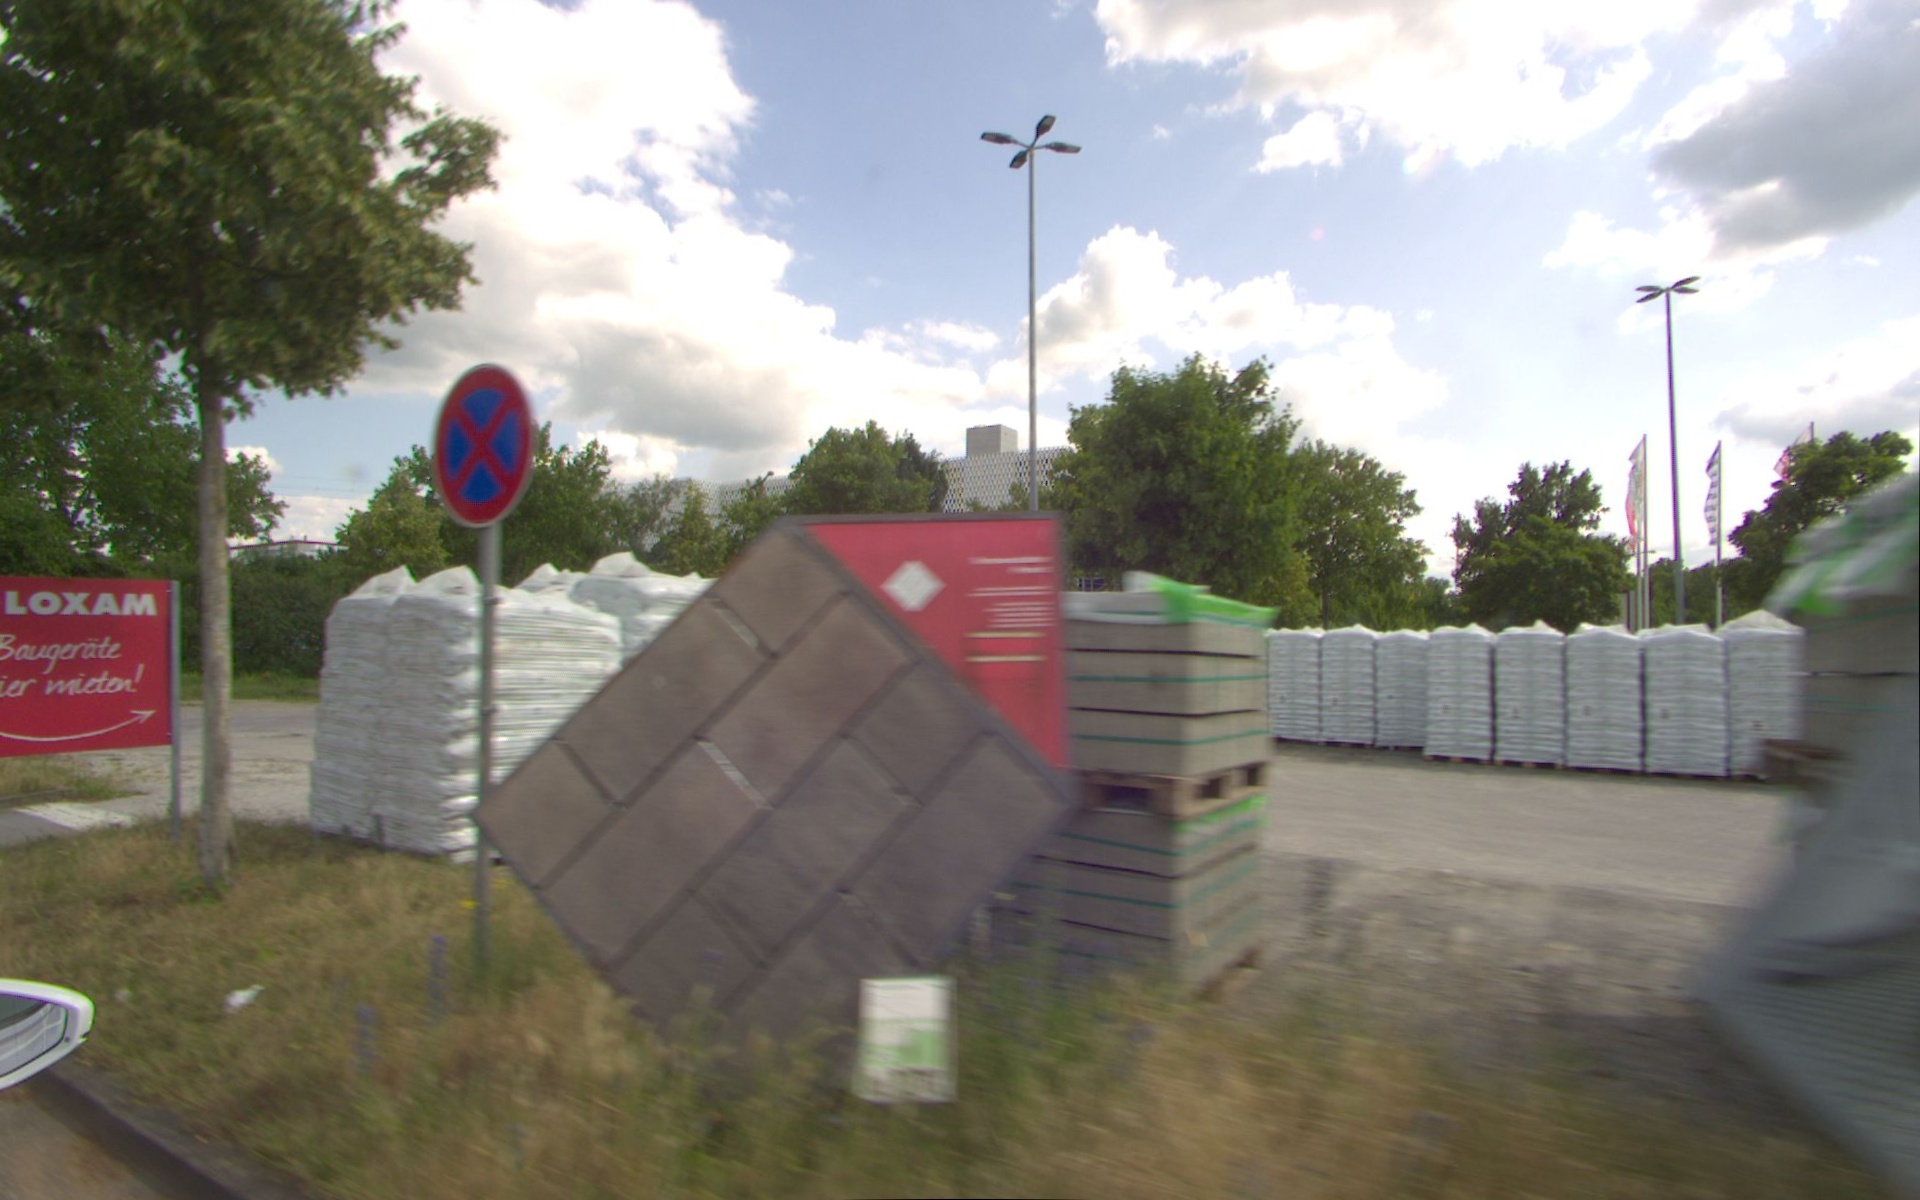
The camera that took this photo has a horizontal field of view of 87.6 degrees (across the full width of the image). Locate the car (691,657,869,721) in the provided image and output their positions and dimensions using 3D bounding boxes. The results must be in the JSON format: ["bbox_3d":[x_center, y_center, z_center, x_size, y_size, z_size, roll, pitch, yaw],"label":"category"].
[{"bbox_3d":[-4.116,2.009,23.165,3.740,1.338,1.601,2,-2,-35],"label":"car"}]

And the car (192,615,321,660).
[{"bbox_3d":[-28.453,1.551,40.655,3.939,1.737,1.993,2,-2,-26],"label":"car"}]
